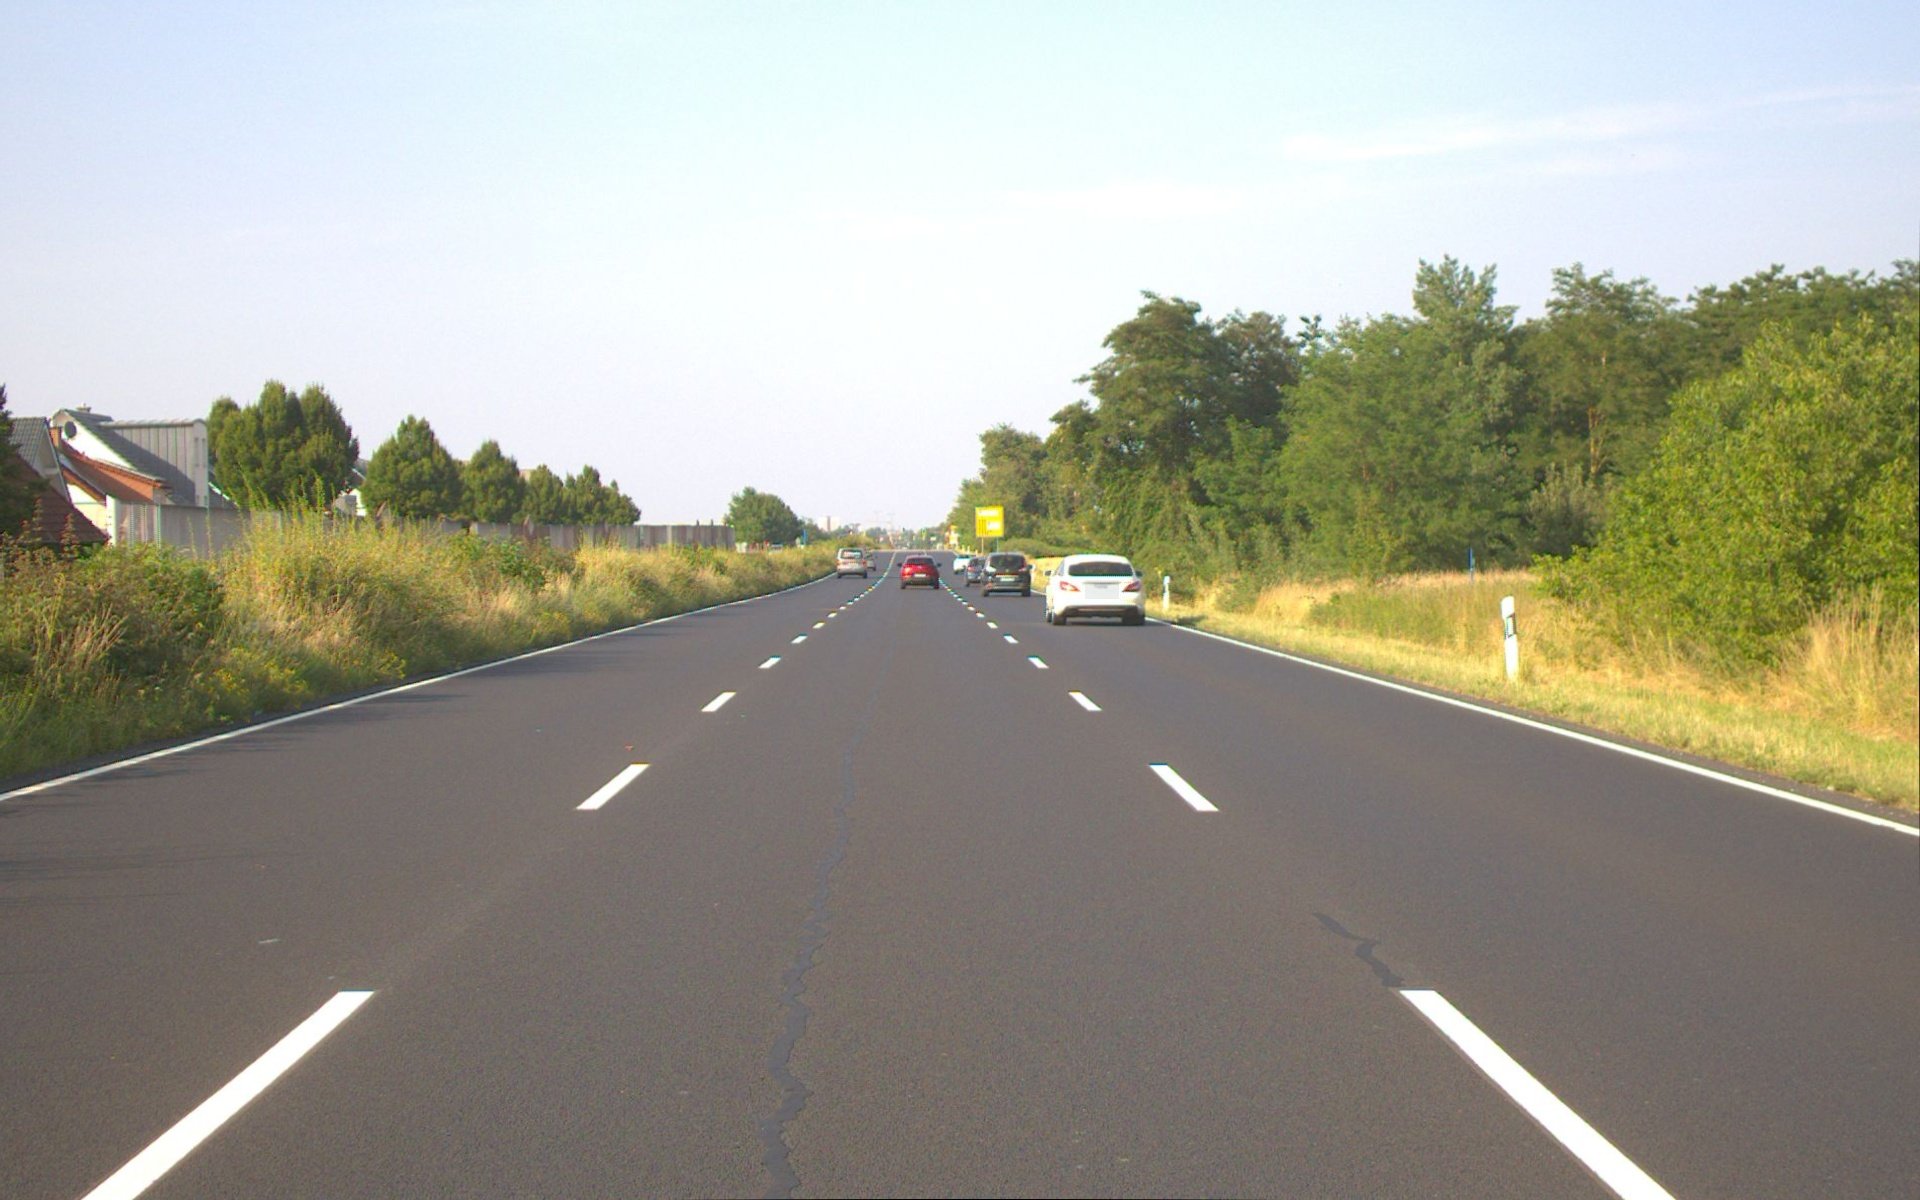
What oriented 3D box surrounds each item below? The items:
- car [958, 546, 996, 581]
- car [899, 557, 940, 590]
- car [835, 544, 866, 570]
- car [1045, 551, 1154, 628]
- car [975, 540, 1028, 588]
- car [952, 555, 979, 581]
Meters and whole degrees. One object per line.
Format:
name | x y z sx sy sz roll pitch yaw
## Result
car | 0.825 -1.773 169.172 1.834 1.711 3.862 0 0 -1
car | -1.857 -1.205 156.793 1.812 1.431 3.859 0 0 -2
car | -6.819 -2.696 214.900 1.758 1.612 4.000 0 0 1
car | 2.812 -0.224 70.229 1.993 1.511 4.000 0 0 -1
car | 1.520 -1.336 127.800 1.828 1.722 4.000 0 0 -1
car | 0.382 -2.215 236.922 1.847 1.744 4.000 0 0 0
